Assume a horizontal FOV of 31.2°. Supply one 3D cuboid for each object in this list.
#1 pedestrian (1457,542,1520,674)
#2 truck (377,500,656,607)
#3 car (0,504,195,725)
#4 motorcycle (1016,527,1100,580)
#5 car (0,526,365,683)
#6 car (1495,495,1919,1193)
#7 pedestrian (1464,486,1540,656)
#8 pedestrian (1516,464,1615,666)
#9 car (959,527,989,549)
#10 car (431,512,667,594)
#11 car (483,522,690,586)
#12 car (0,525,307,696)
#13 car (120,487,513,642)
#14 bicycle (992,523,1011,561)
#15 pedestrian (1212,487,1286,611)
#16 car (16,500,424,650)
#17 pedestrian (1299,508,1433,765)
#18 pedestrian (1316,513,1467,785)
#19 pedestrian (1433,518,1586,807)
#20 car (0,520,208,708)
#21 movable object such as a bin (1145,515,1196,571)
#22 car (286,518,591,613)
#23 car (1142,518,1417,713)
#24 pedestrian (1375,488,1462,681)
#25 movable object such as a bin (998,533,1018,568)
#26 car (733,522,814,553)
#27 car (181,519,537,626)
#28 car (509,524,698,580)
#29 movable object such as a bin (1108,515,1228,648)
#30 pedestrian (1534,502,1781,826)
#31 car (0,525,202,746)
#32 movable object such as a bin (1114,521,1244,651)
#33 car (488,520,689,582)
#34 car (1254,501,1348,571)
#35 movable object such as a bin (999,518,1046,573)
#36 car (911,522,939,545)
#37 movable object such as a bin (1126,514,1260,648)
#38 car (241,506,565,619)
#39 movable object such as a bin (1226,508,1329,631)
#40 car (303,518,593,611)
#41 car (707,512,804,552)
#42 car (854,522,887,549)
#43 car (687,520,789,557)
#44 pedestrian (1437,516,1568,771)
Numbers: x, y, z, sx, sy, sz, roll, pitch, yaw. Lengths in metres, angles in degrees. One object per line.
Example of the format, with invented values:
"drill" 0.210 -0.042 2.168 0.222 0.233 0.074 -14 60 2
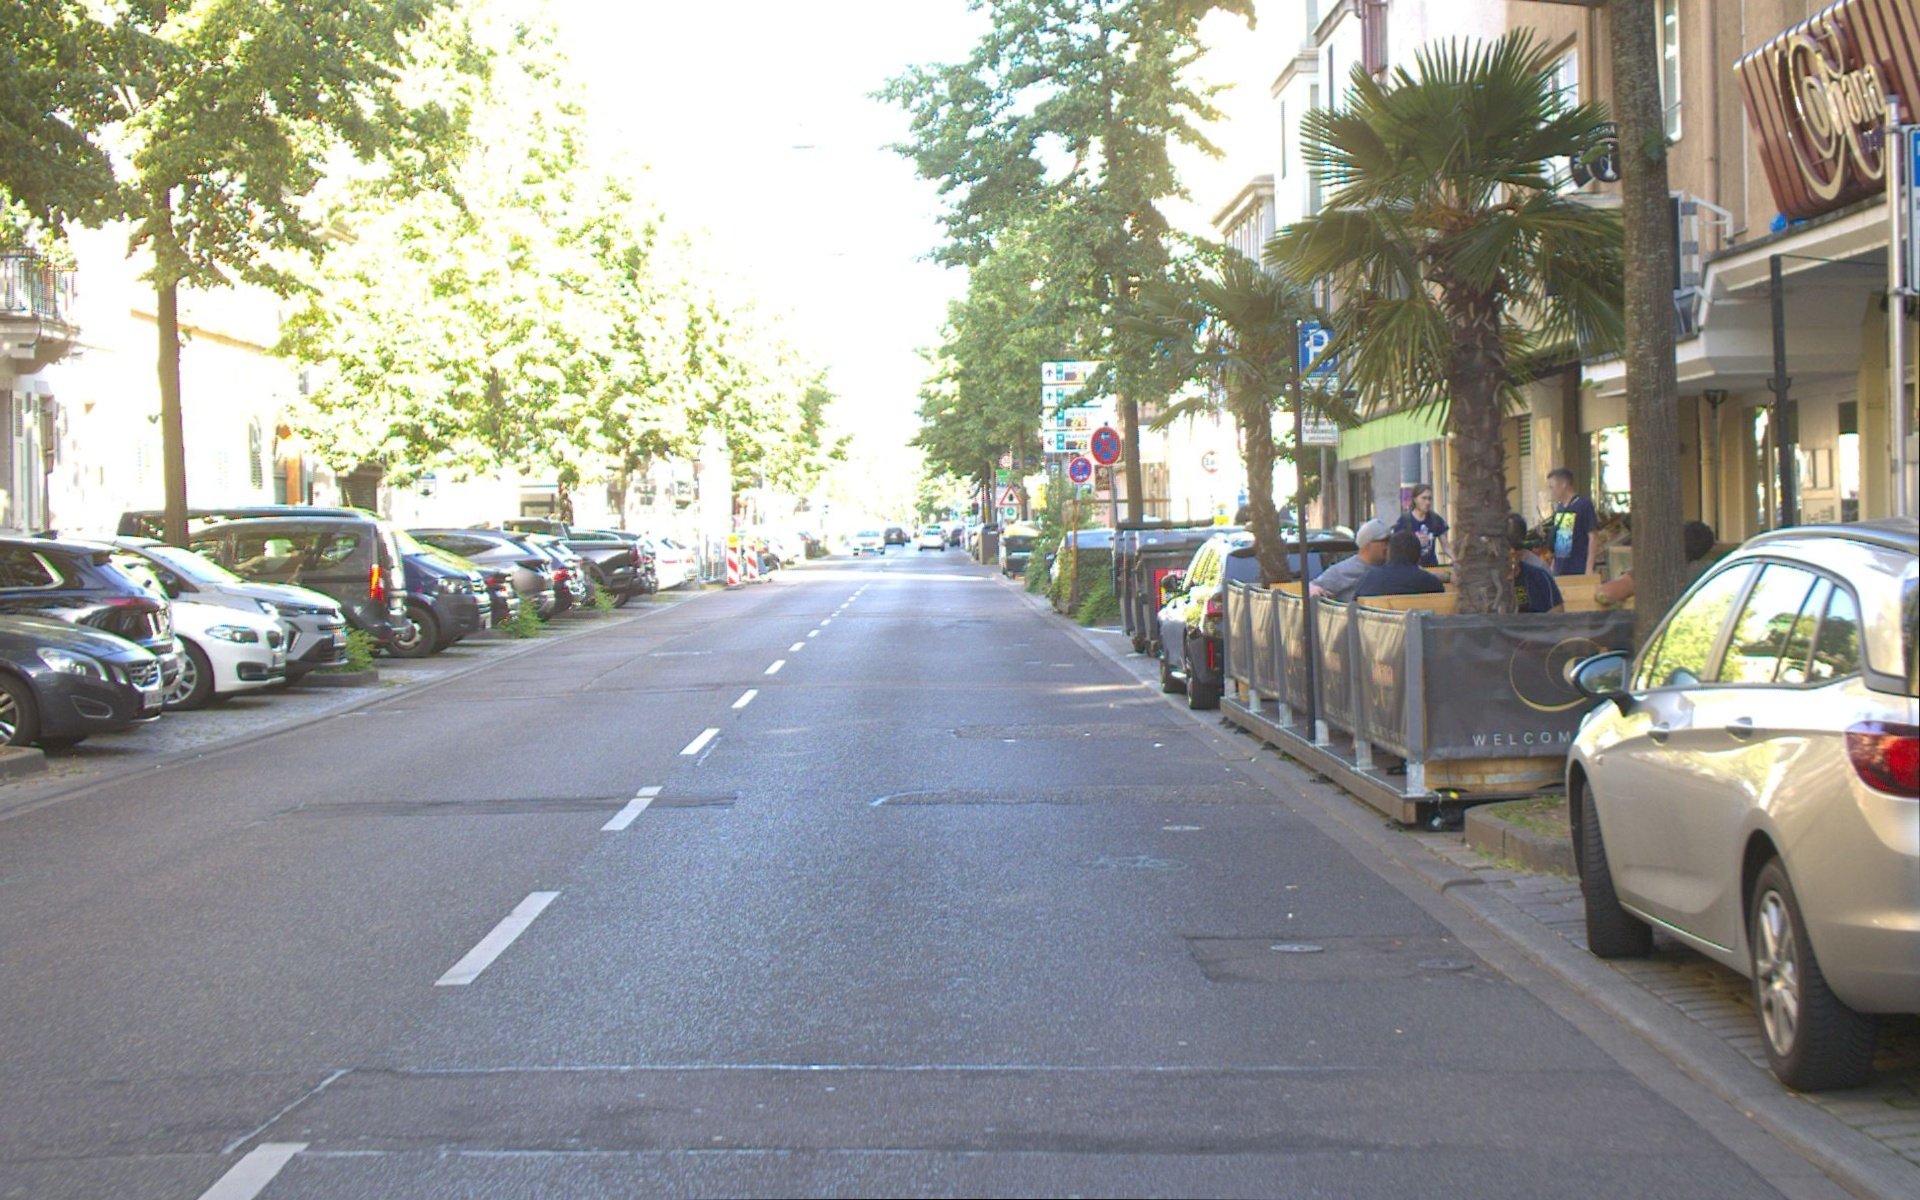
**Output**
"pedestrian" 4.708 0.068 30.625 0.443 1.159 0.501 -1 1 -3
"truck" -8.478 -0.907 66.099 5.084 1.931 2.000 -1 1 -1
"car" -8.499 0.095 27.487 4.339 1.703 1.917 0 1 0
"motorcycle" 2.521 -1.208 88.607 1.977 1.325 0.912 -1 1 -12
"car" -8.443 0.020 34.761 4.466 1.535 1.916 0 1 3
"car" 2.968 0.491 10.440 1.822 1.591 4.842 -3 1 0
"pedestrian" 5.307 -0.290 33.670 0.616 1.636 0.762 -1 1 1
"pedestrian" 5.129 -0.299 29.124 0.502 1.690 0.630 -2 1 -37
"car" 0.933 -4.259 236.130 1.993 1.503 4.000 0 1 -1
"car" -8.526 -0.979 71.553 4.680 1.687 1.808 0 1 1
"car" -8.598 -1.066 79.430 4.680 1.460 1.808 0 1 -3
"car" -8.473 0.078 31.967 4.466 1.535 1.917 0 1 -1
"car" -8.230 -0.467 44.276 4.680 1.943 1.916 0 1 1
"bicycle" 1.629 -2.287 135.099 0.560 1.436 1.628 -7 2 -1
"pedestrian" 4.538 -0.796 53.986 0.926 1.929 0.760 0 1 25
"car" -8.850 -0.314 41.370 4.466 1.766 1.916 0 1 1
"pedestrian" 2.484 0.212 21.110 0.650 1.531 0.980 -1 1 -2
"pedestrian" 2.492 0.269 19.812 0.750 1.531 0.807 -1 1 14
"pedestrian" 2.982 0.327 18.696 0.692 1.531 0.776 -1 1 1
"car" -8.879 0.101 29.769 4.339 1.576 1.809 0 1 0
"movable object such as a bin" 5.820 -1.573 95.006 1.270 1.525 1.177 -1 1 -2
"car" -8.450 -0.566 55.964 4.680 1.514 1.808 0 1 1
"car" 2.678 0.071 29.861 1.822 1.467 4.912 -3 1 0
"pedestrian" 4.087 -0.147 30.679 0.616 1.690 0.762 -1 1 -3
"movable object such as a bin" 1.630 -1.681 116.058 0.621 1.175 0.712 -1 1 -3
"car" -9.344 -3.142 172.632 3.987 1.494 2.000 -1 1 -1
"car" -8.287 -0.394 47.643 4.645 1.454 1.684 0 1 0
"car" -9.004 -1.228 87.003 4.680 1.407 1.808 0 1 -3
"movable object such as a bin" 2.452 -0.231 40.746 1.330 1.537 1.146 -1 1 0
"pedestrian" 3.403 0.299 16.852 1.056 1.531 0.892 -1 1 4
"car" -7.971 0.227 25.002 4.466 1.535 1.916 0 1 2
"movable object such as a bin" 2.511 -0.171 39.582 1.399 1.449 1.146 -1 1 0
"car" -8.838 -1.168 81.990 4.680 1.460 1.808 0 1 -3
"car" 8.313 -1.580 84.141 1.901 1.642 4.293 -1 1 1
"movable object such as a bin" 1.808 -1.565 98.939 1.143 1.556 1.459 -1 1 8
"car" -2.251 -4.253 220.544 1.792 1.406 4.000 -1 2 -1
"movable object such as a bin" 2.590 -0.222 38.371 1.399 1.449 1.146 -1 1 0
"car" -8.555 -0.583 53.026 4.680 1.706 1.808 0 1 1
"movable object such as a bin" 3.758 -0.371 40.748 1.077 1.426 1.295 -1 1 0
"car" -8.729 -0.619 58.832 4.680 1.566 1.808 0 1 1
"car" -8.911 -2.980 149.860 3.987 1.688 2.000 -1 1 4
"car" -5.135 -3.683 196.672 1.802 1.430 4.410 -3 1 -1
"car" -8.829 -2.461 136.954 3.987 1.385 2.000 -1 1 -1
"pedestrian" 3.333 0.255 21.084 0.712 1.531 0.769 -1 1 14
